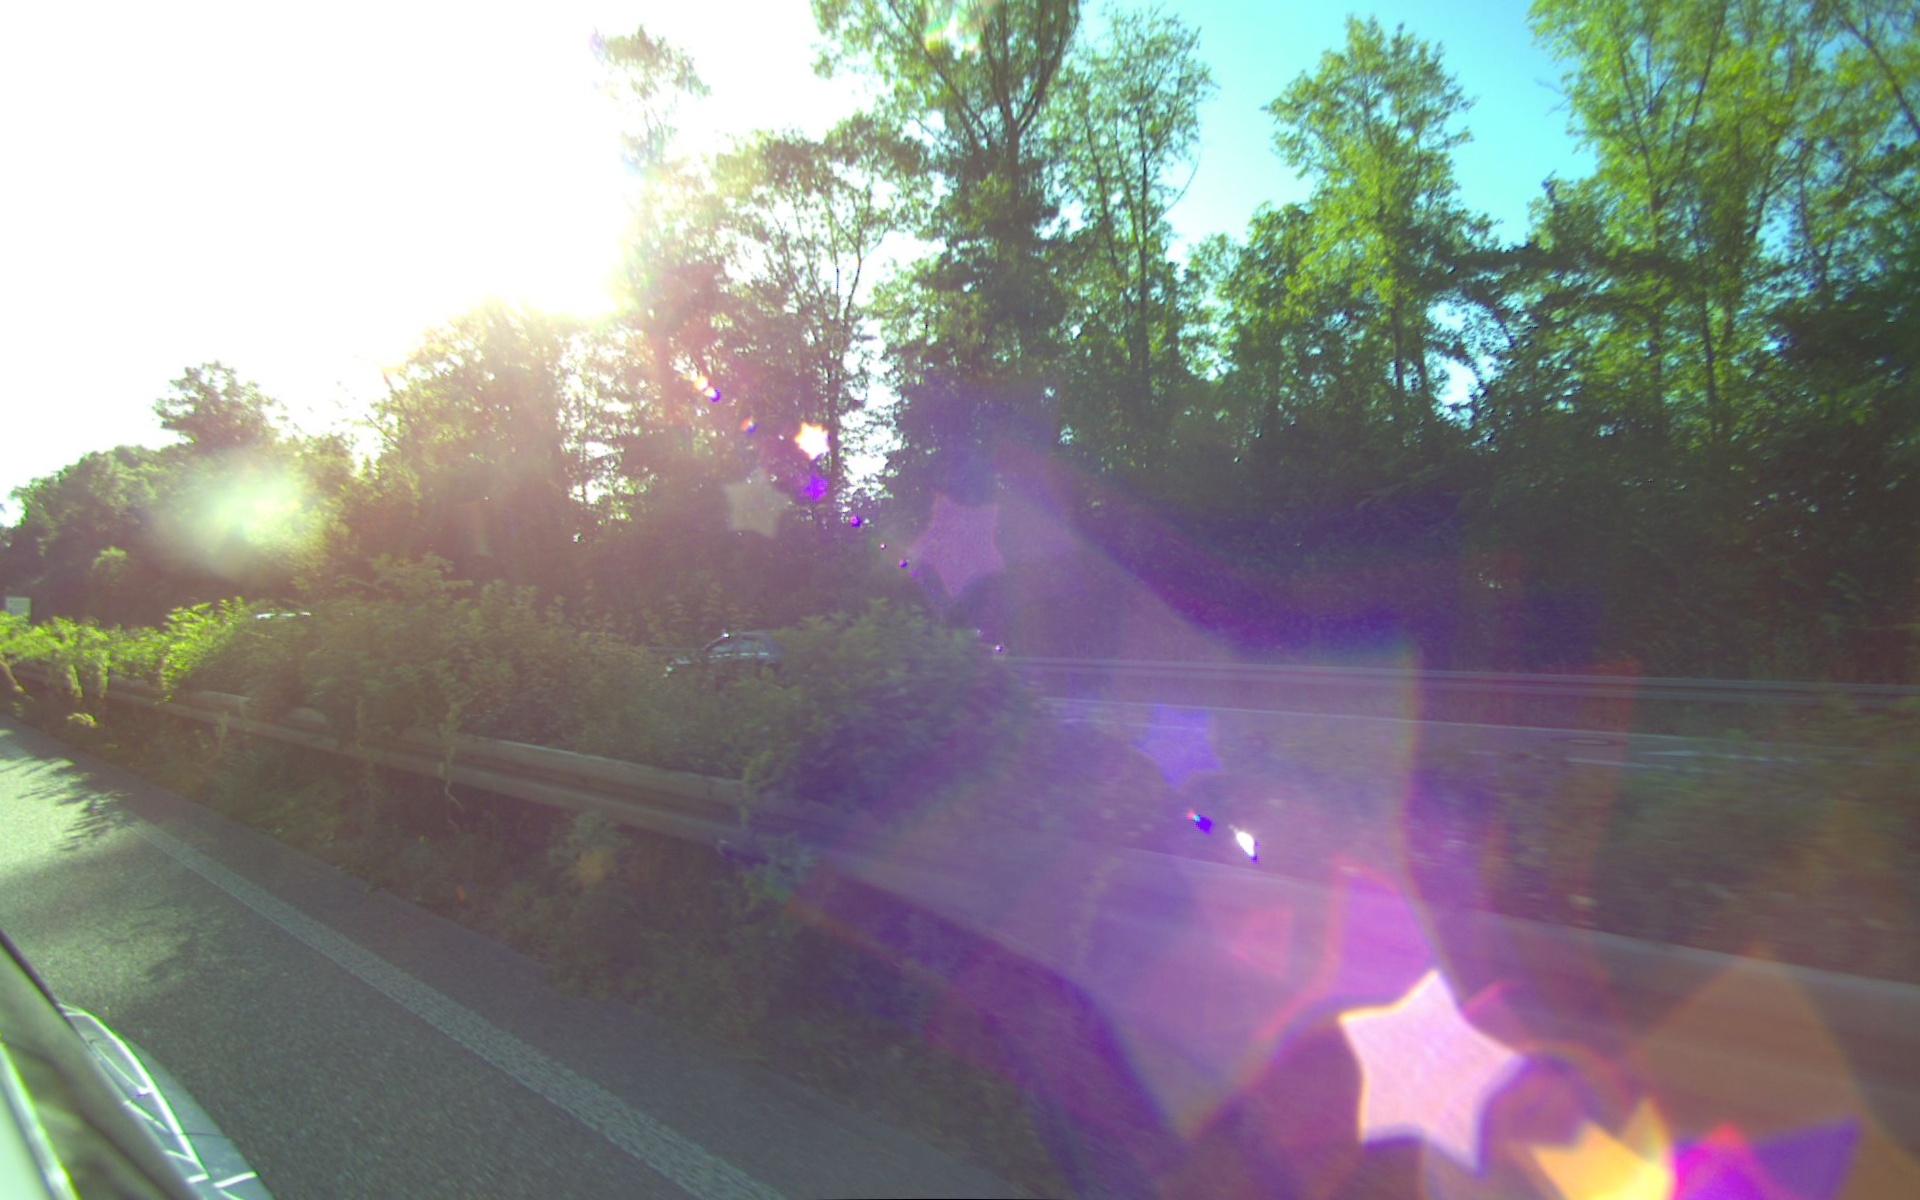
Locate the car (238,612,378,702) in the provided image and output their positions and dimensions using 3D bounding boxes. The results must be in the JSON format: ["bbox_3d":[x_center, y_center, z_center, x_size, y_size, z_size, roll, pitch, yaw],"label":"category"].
[{"bbox_3d":[-15.047,1.230,23.291,3.999,1.862,1.760,-1,-1,42],"label":"car"}]

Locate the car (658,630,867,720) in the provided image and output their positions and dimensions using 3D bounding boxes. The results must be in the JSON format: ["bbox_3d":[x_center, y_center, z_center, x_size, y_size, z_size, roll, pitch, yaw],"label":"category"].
[{"bbox_3d":[-3.877,1.344,19.429,4.268,1.469,1.760,-1,-1,42],"label":"car"}]
